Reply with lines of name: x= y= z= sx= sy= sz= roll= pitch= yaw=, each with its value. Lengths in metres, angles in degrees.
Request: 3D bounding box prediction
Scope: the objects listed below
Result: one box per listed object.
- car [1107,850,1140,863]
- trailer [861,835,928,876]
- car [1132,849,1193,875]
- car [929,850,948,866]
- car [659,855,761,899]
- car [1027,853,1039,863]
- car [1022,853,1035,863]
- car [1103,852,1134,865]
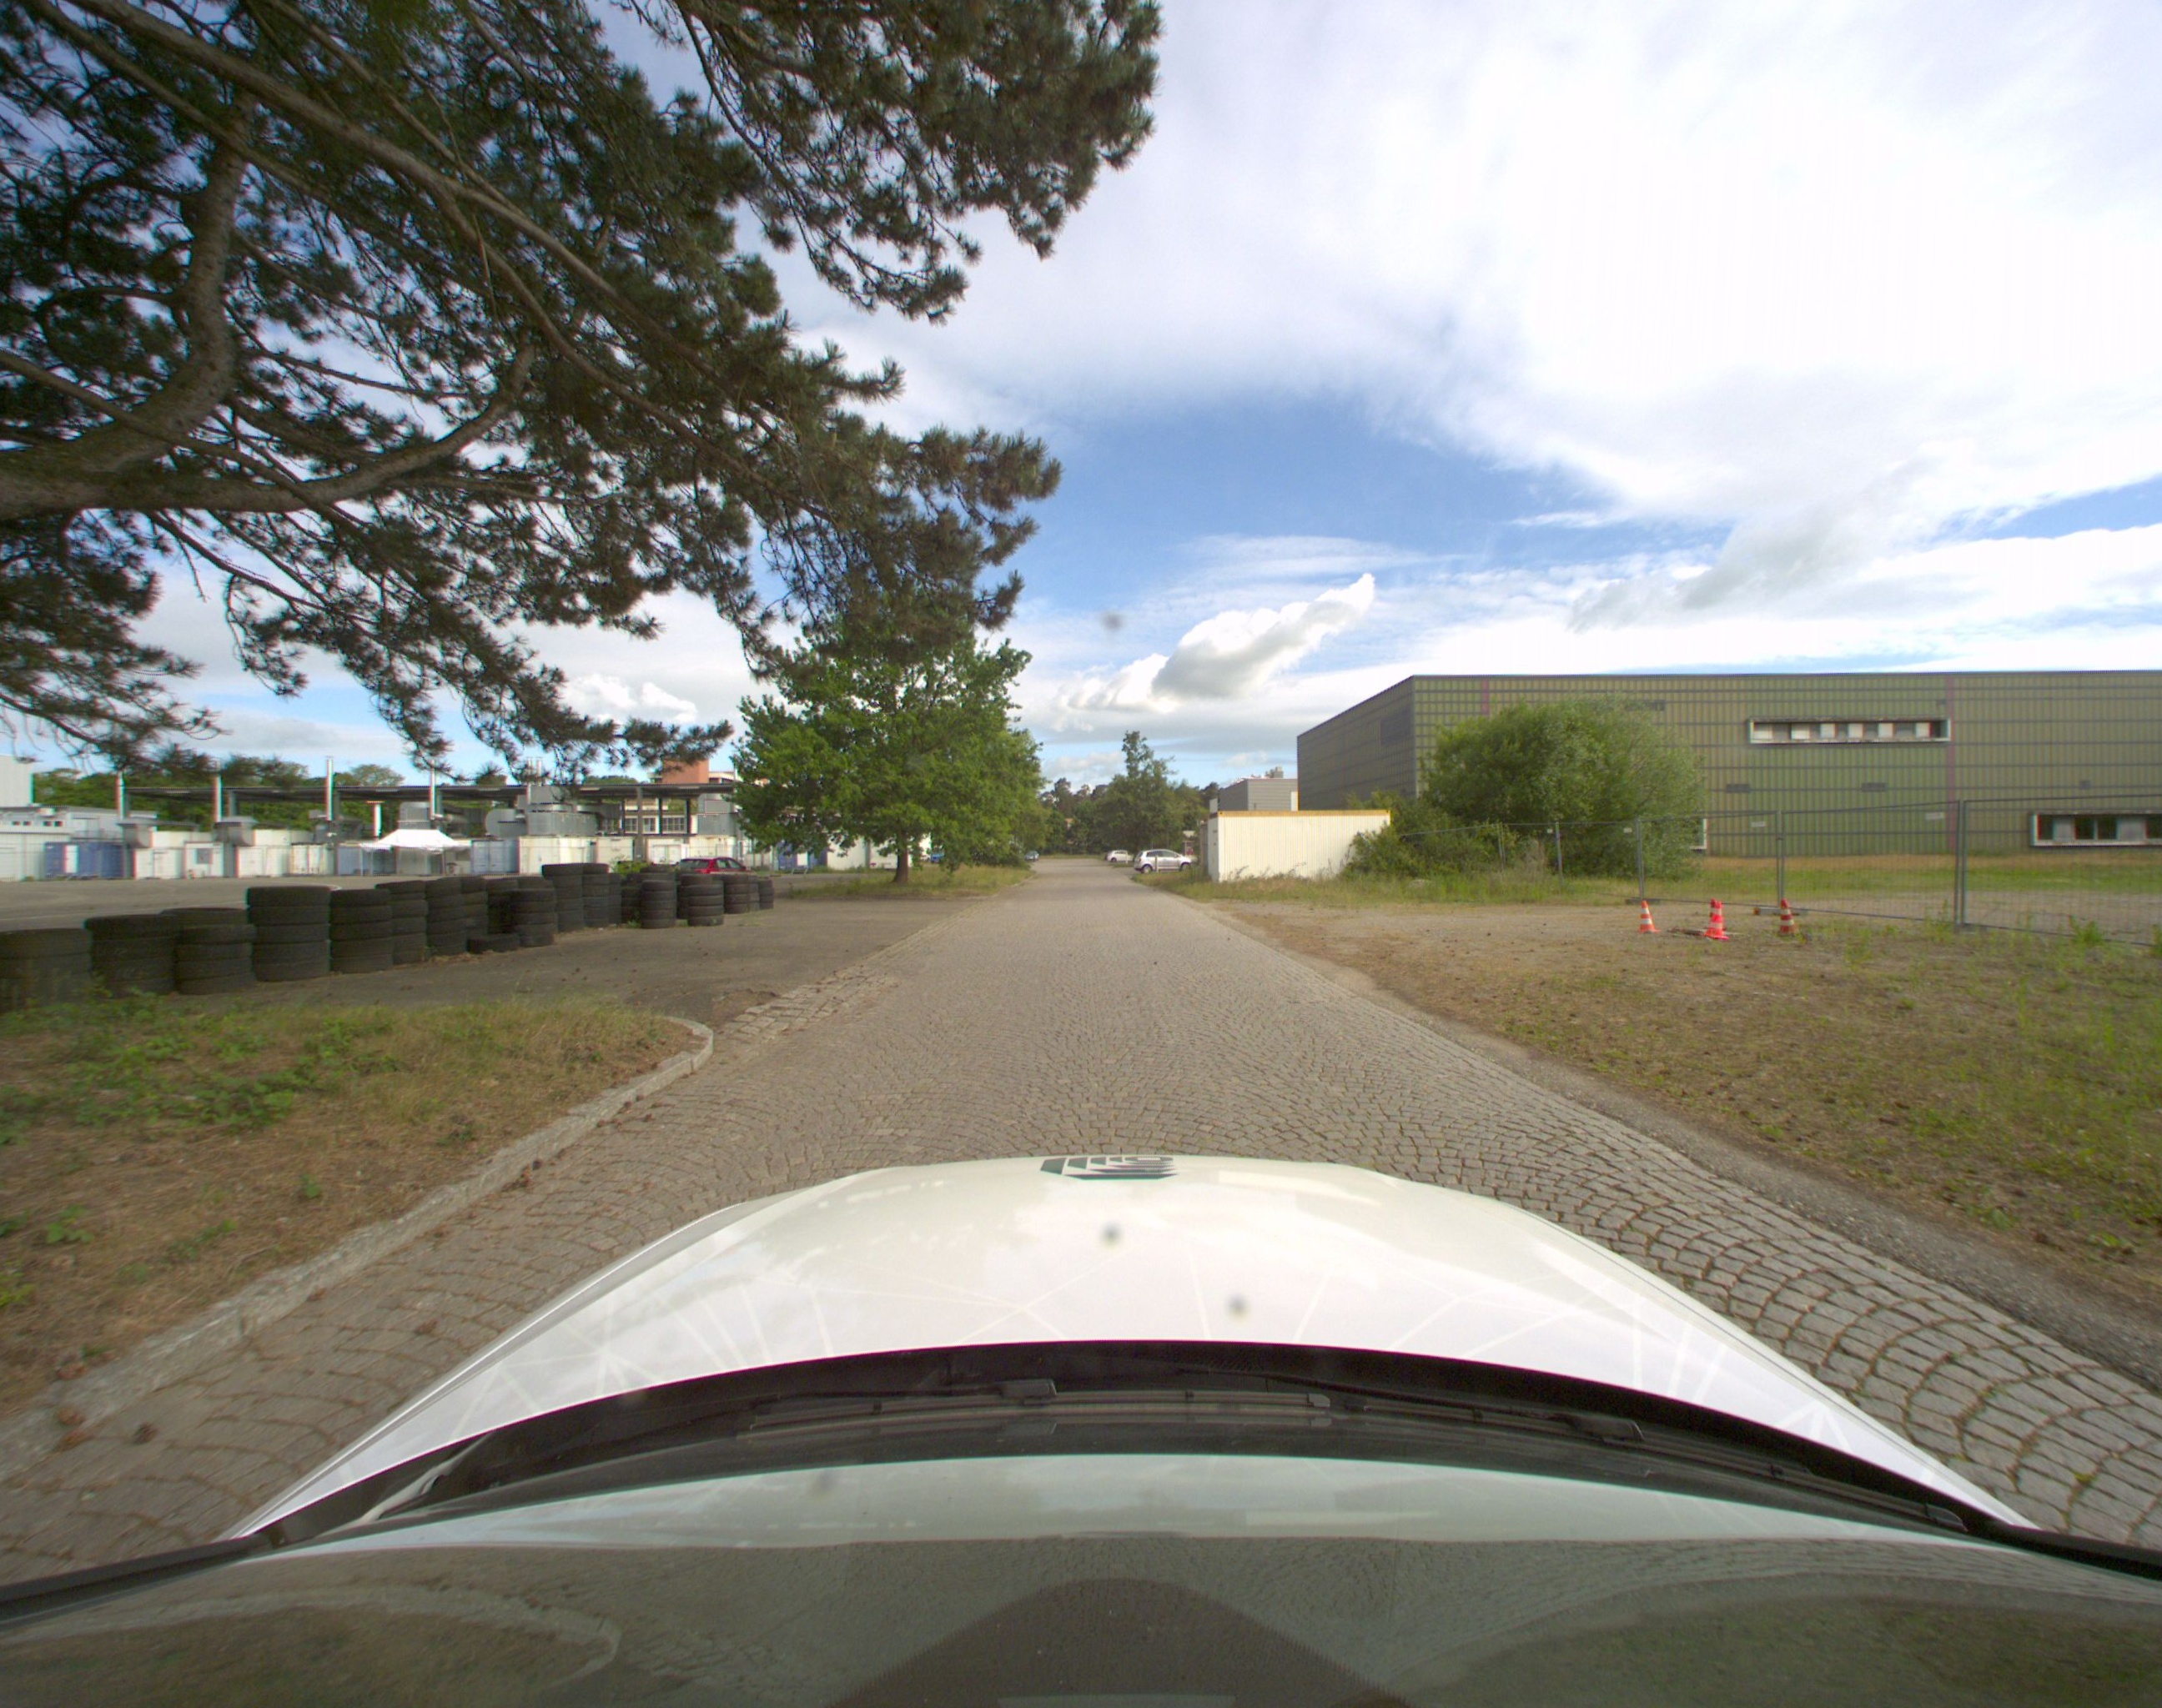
car: x=5.222 y=0.303 z=100.135 sx=4.012 sy=1.502 sz=1.548 roll=-1 pitch=0 yaw=0
trailer: x=-15.000 y=0.125 z=66.248 sx=3.147 sy=3.067 sz=8.786 roll=-1 pitch=0 yaw=1
car: x=5.384 y=0.530 z=53.993 sx=3.841 sy=1.654 sz=1.684 roll=-1 pitch=0 yaw=-4
car: x=-18.606 y=0.492 z=106.687 sx=1.921 sy=2.047 sz=4.595 roll=-1 pitch=0 yaw=-3
car: x=-13.062 y=0.780 z=28.897 sx=1.758 sy=1.453 sz=3.493 roll=-1 pitch=0 yaw=5
car: x=-7.599 y=0.585 z=128.280 sx=1.799 sy=1.535 sz=3.996 roll=-1 pitch=0 yaw=-3
car: x=-7.638 y=0.611 z=118.924 sx=1.731 sy=1.469 sz=4.041 roll=-1 pitch=0 yaw=-3
car: x=4.857 y=0.590 z=105.680 sx=3.978 sy=1.601 sz=1.727 roll=-1 pitch=0 yaw=-4
